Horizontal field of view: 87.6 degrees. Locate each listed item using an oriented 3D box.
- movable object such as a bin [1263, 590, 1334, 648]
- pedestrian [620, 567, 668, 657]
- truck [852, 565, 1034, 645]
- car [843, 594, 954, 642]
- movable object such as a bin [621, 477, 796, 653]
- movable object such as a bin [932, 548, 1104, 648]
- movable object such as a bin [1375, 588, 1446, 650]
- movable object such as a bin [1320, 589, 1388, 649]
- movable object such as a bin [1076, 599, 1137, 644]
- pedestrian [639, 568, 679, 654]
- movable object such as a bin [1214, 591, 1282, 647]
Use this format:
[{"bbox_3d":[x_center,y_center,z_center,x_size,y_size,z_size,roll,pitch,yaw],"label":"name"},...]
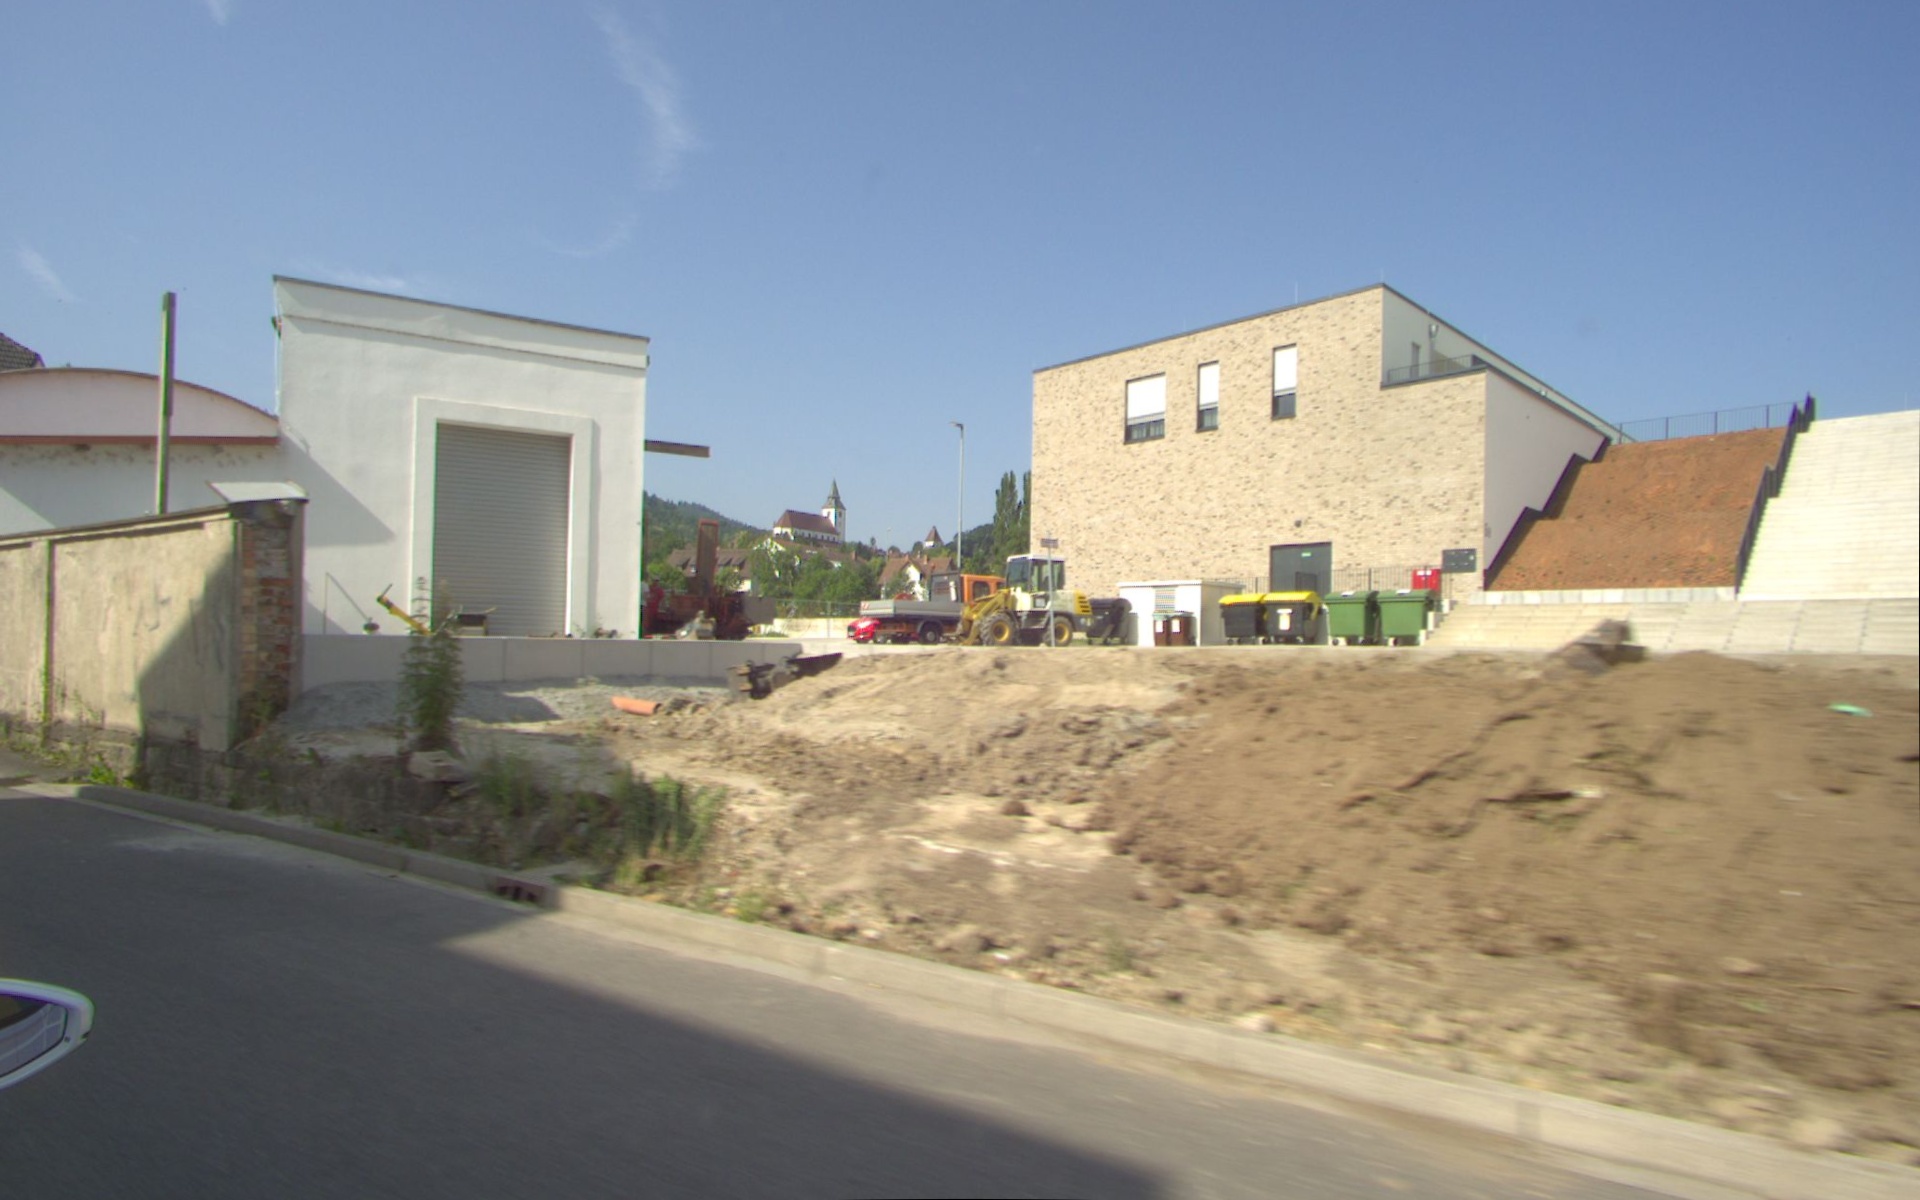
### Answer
[{"bbox_3d":[9.578,0.551,28.319,1.305,1.481,1.686,0,-5,42],"label":"movable object such as a bin"},{"bbox_3d":[-6.933,0.262,21.978,0.625,1.919,0.607,2,-4,25],"label":"pedestrian"},{"bbox_3d":[-0.476,0.223,30.910,5.259,2.294,2.207,1,-2,-32],"label":"truck"},{"bbox_3d":[-2.205,0.677,35.969,3.710,1.536,1.496,2,-4,-27],"label":"car"},{"bbox_3d":[-6.416,-0.615,24.918,2.818,3.665,5.713,5,-4,-27],"label":"movable object such as a bin"},{"bbox_3d":[1.660,0.011,28.077,4.565,2.602,1.914,1,-2,-32],"label":"movable object such as a bin"},{"bbox_3d":[11.684,0.502,25.956,1.305,1.481,1.294,0,-5,43],"label":"movable object such as a bin"},{"bbox_3d":[10.638,0.520,27.051,1.305,1.481,1.294,0,-5,43],"label":"movable object such as a bin"},{"bbox_3d":[4.533,0.678,30.971,1.305,1.283,1.291,0,-5,43],"label":"movable object such as a bin"},{"bbox_3d":[-7.007,0.269,23.349,0.623,1.919,0.608,3,-3,-1],"label":"pedestrian"},{"bbox_3d":[8.452,0.559,29.342,1.305,1.481,1.574,0,-5,42],"label":"movable object such as a bin"}]
